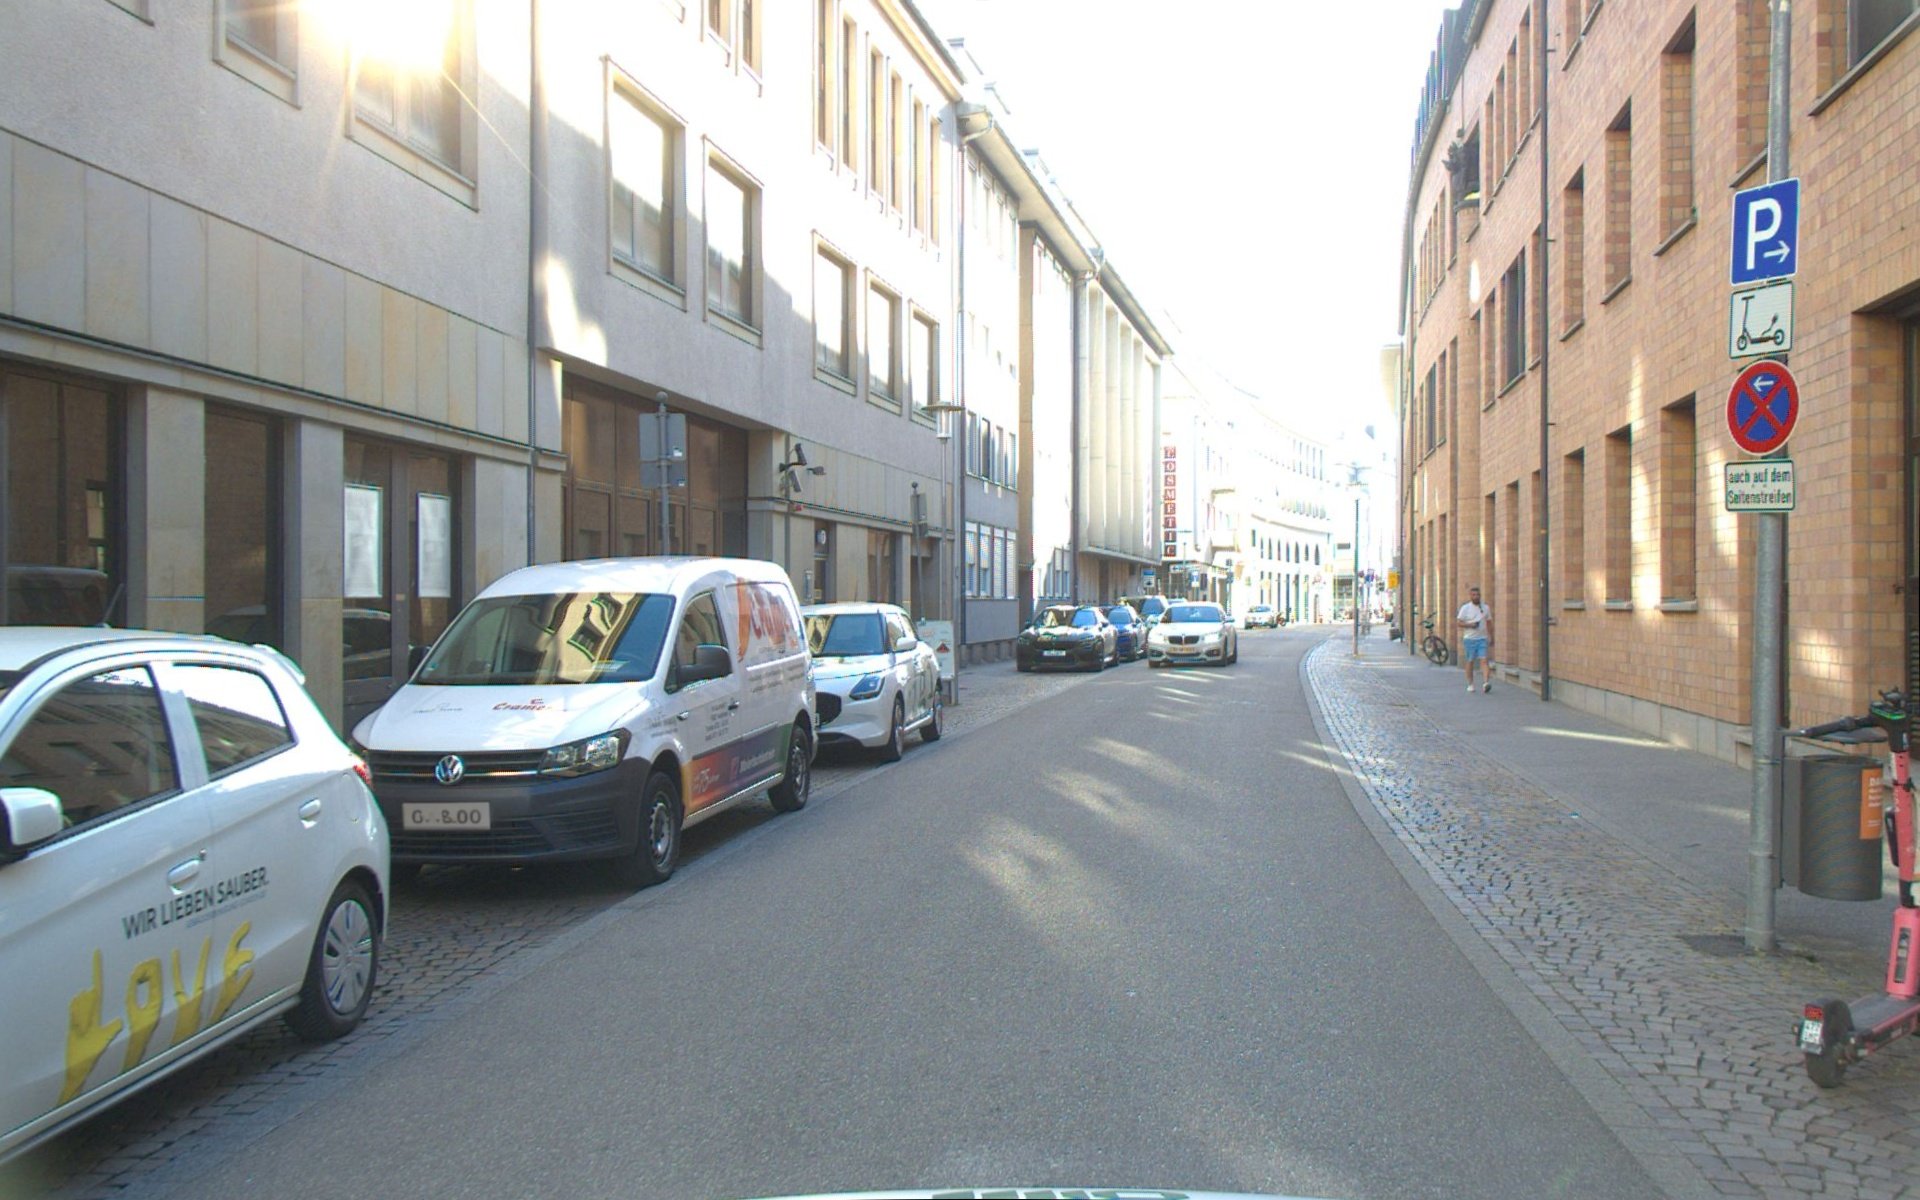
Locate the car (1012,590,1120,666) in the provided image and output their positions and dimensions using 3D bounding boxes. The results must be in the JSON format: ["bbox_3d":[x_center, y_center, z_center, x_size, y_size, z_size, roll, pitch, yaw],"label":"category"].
[{"bbox_3d":[2.464,0.599,37.294,1.849,1.557,4.733,-2,0,10],"label":"car"}]

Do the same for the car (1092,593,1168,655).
[{"bbox_3d":[5.132,0.691,49.485,1.849,1.705,4.557,-2,0,10],"label":"car"}]

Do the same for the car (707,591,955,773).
[{"bbox_3d":[-1.177,0.746,16.742,1.634,1.548,3.779,-3,-1,8],"label":"car"}]

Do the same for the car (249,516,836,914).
[{"bbox_3d":[-2.252,0.582,10.479,1.859,1.890,4.737,-3,-1,8],"label":"car"}]

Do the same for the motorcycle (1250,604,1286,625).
[{"bbox_3d":[20.781,0.963,111.564,2.340,1.340,0.862,-2,-1,14],"label":"motorcycle"}]

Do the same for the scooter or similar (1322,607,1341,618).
[{"bbox_3d":[31.707,1.034,141.275,0.518,0.944,2.212,0,0,44],"label":"scooter or similar"}]

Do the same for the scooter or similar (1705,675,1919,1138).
[{"bbox_3d":[3.012,0.912,5.427,1.407,1.257,0.530,0,0,-43],"label":"scooter or similar"}]

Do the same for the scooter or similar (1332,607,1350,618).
[{"bbox_3d":[33.399,1.056,145.012,0.518,0.944,2.212,0,0,44],"label":"scooter or similar"}]

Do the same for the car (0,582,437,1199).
[{"bbox_3d":[-3.050,0.758,4.610,1.700,1.518,3.801,-3,0,4],"label":"car"}]

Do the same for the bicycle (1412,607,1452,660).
[{"bbox_3d":[10.688,0.748,37.503,0.538,1.122,1.984,-4,-1,8],"label":"bicycle"}]

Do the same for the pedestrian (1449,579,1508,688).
[{"bbox_3d":[8.550,0.547,27.314,0.744,1.746,0.822,-3,-1,10],"label":"pedestrian"}]

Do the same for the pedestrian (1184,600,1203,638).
[{"bbox_3d":[10.152,0.839,71.955,0.637,1.654,0.453,0,-1,-28],"label":"pedestrian"}]

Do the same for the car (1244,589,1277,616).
[{"bbox_3d":[18.330,0.172,100.850,1.699,1.634,3.535,0,0,15],"label":"car"}]

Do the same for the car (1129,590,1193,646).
[{"bbox_3d":[6.863,0.592,56.240,1.849,1.773,4.394,-2,0,10],"label":"car"}]

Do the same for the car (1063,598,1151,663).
[{"bbox_3d":[3.873,0.751,42.976,1.849,1.557,4.343,-2,0,10],"label":"car"}]

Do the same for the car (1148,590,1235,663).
[{"bbox_3d":[5.369,0.572,37.969,1.678,1.544,4.163,-2,0,12],"label":"car"}]
